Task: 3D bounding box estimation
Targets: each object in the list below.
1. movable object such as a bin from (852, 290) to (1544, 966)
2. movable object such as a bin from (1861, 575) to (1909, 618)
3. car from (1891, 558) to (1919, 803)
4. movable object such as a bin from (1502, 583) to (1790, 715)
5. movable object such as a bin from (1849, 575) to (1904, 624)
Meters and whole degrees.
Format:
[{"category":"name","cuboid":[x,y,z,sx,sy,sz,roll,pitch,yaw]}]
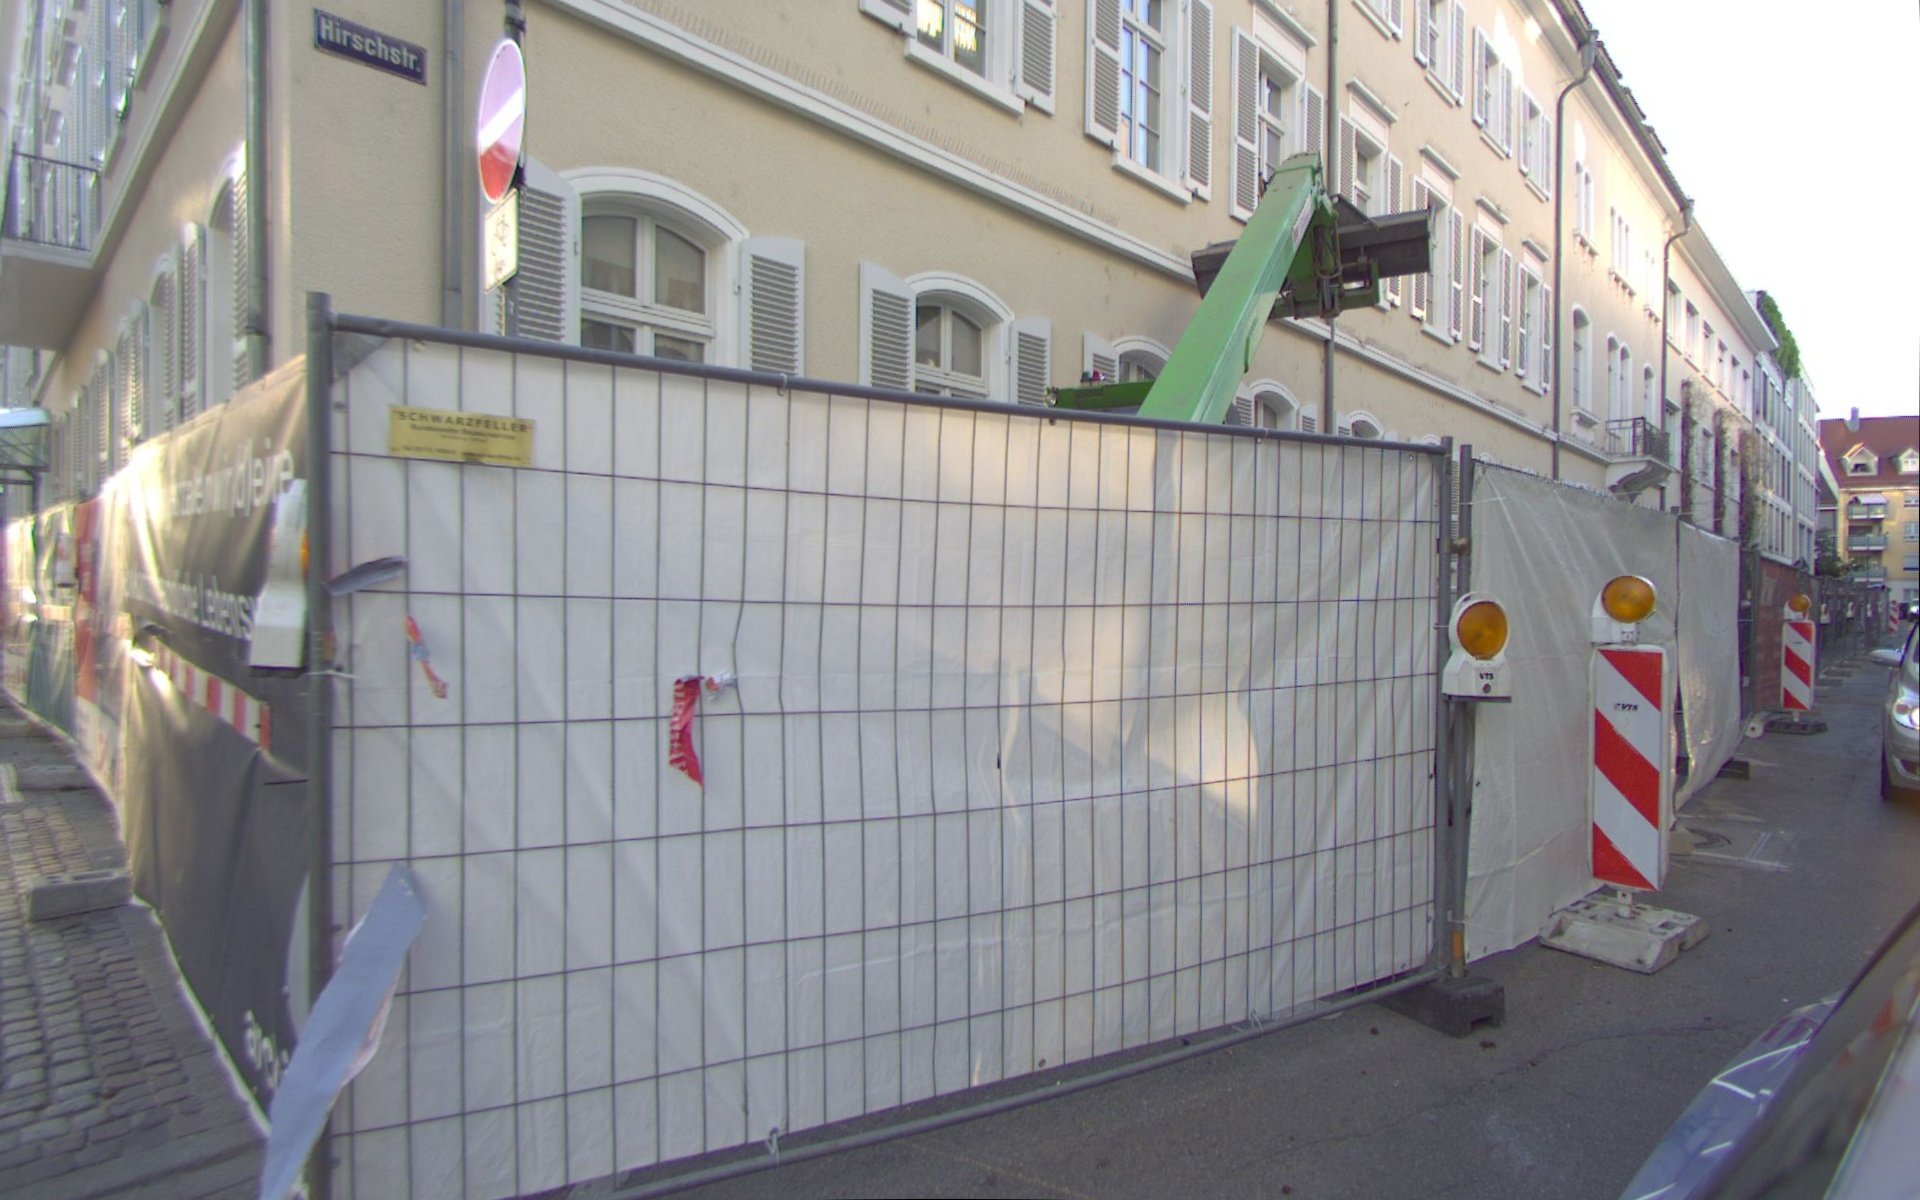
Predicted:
[{"category":"movable object such as a bin","cuboid":[1.807,0.078,6.794,2.606,2.874,4.378,2,1,45]},{"category":"movable object such as a bin","cuboid":[60.131,-0.211,65.767,2.016,2.657,5.657,-3,-2,45]},{"category":"car","cuboid":[8.431,0.586,7.727,1.800,1.637,4.204,2,1,44]},{"category":"movable object such as a bin","cuboid":[11.391,0.598,16.444,2.735,1.659,7.434,0,0,43]},{"category":"movable object such as a bin","cuboid":[52.618,0.035,58.073,2.016,2.657,5.657,-3,-2,45]}]
